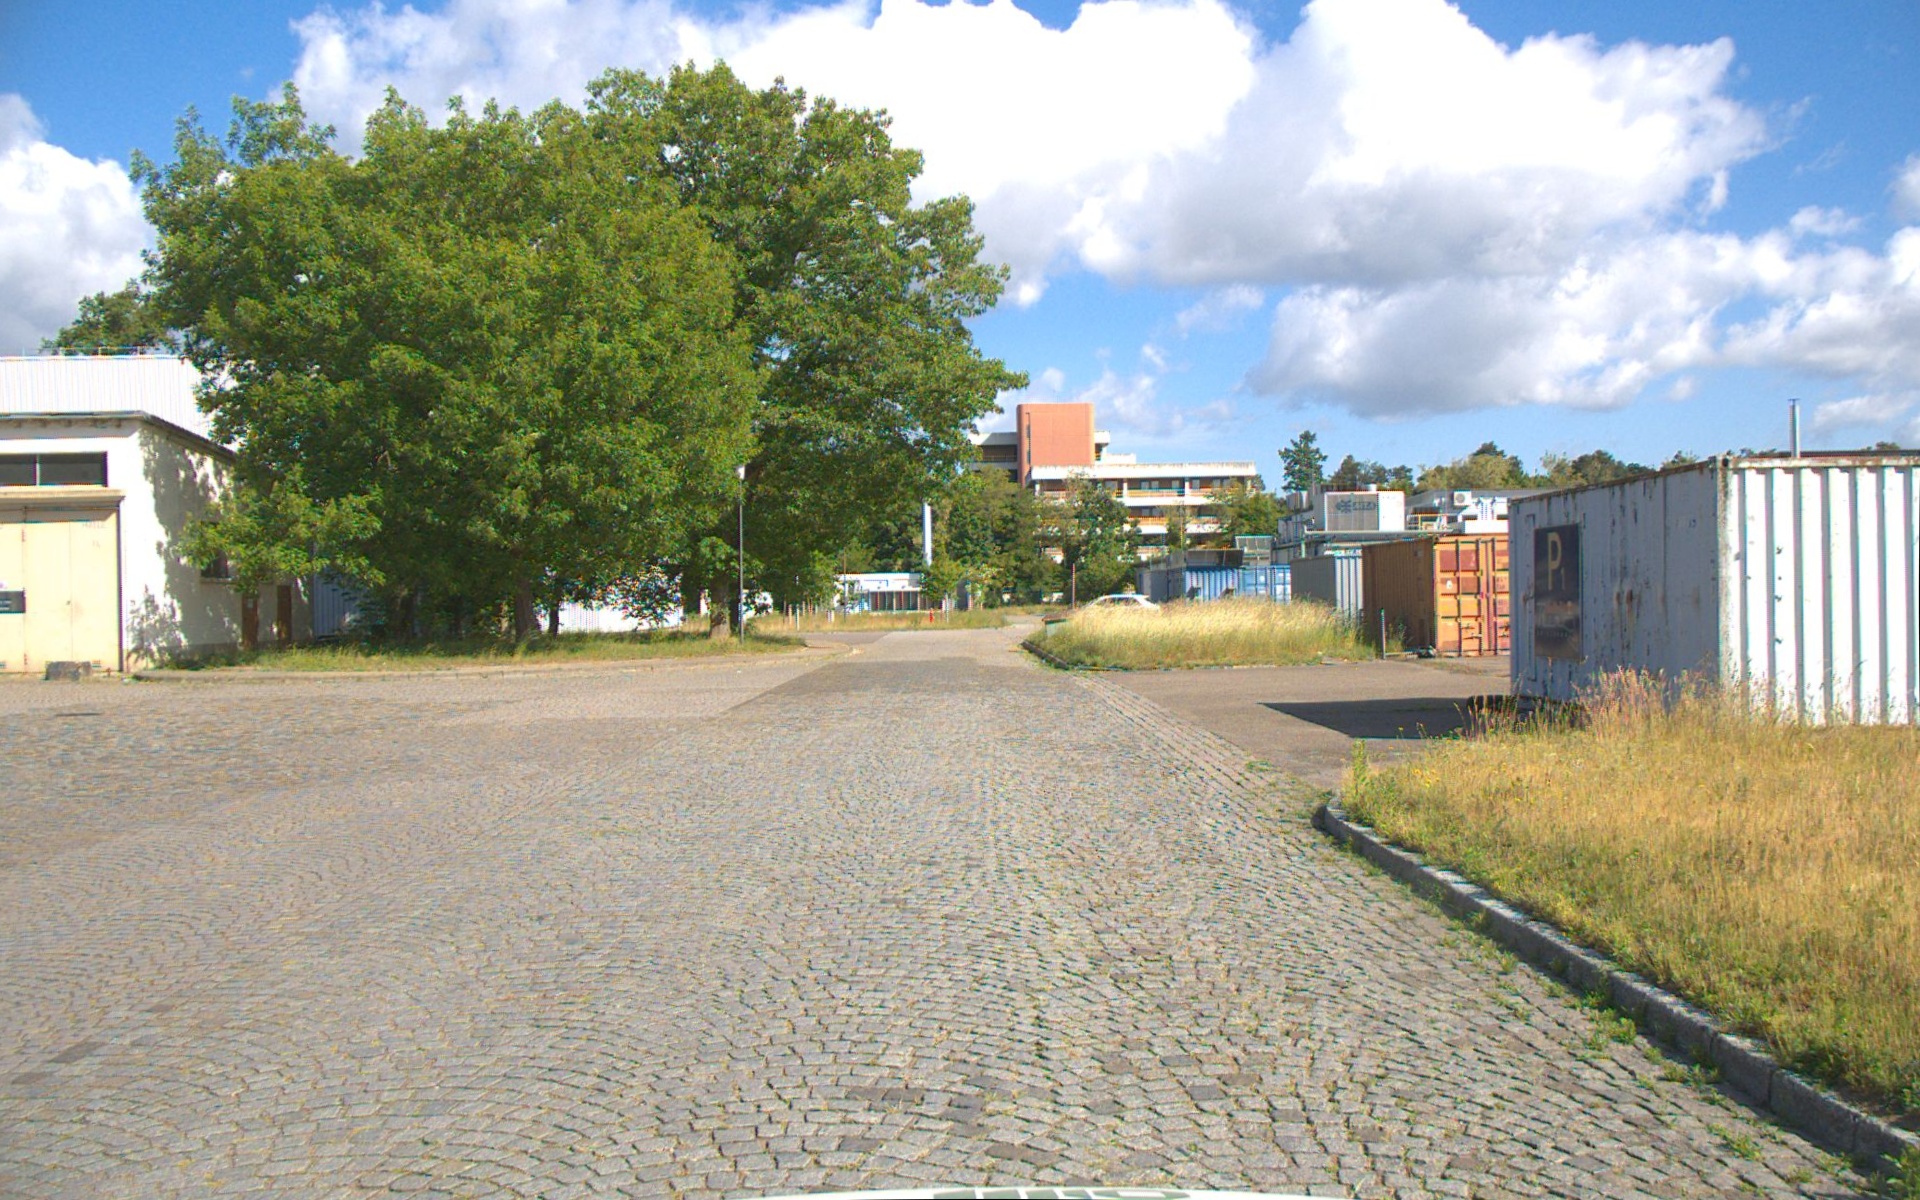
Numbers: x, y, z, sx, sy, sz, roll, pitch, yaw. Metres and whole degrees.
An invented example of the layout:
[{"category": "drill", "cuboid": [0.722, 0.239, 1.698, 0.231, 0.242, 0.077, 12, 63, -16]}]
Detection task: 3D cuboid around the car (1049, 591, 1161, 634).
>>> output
[{"category": "car", "cuboid": [6.025, 0.526, 69.091, 4.414, 1.676, 1.999, -1, 0, -2]}]
